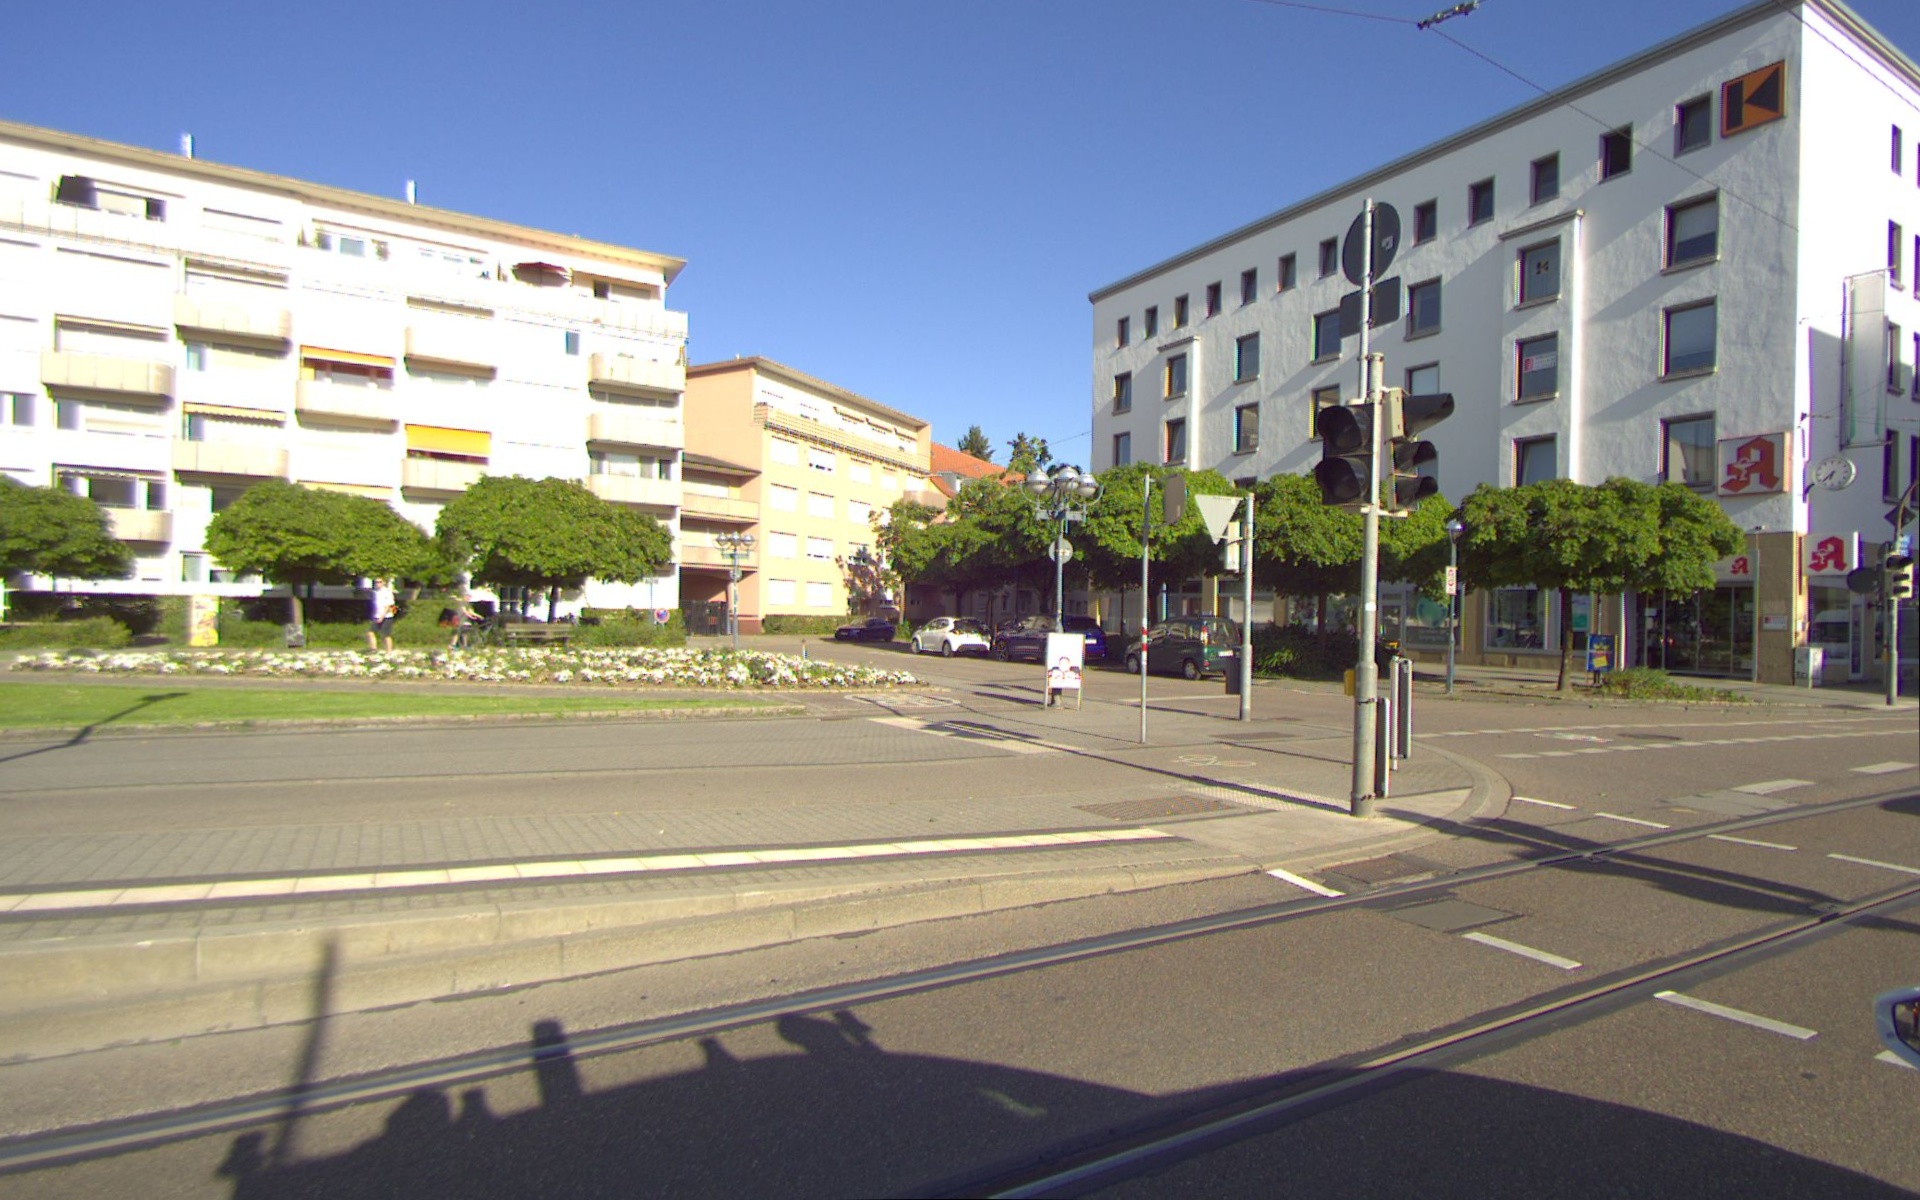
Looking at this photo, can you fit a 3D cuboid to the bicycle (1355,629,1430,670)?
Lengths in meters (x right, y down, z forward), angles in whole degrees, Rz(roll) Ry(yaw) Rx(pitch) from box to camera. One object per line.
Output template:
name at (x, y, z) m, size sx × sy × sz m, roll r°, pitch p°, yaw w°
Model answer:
bicycle at (13.348, 1.531, 30.977) m, size 2.586 × 1.206 × 0.615 m, roll 2°, pitch -1°, yaw -27°

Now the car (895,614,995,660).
car at (-0.651, 1.402, 39.119) m, size 1.835 × 1.628 × 4.581 m, roll 2°, pitch -1°, yaw -31°

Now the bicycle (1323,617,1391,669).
bicycle at (12.783, 1.377, 32.282) m, size 2.591 × 1.628 × 0.614 m, roll 2°, pitch -1°, yaw -32°

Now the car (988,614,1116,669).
car at (3.007, 1.352, 33.960) m, size 1.978 × 1.684 × 4.581 m, roll 2°, pitch -1°, yaw -31°

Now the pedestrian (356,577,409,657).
pedestrian at (-13.638, 0.407, 23.740) m, size 0.856 × 1.841 × 0.944 m, roll 1°, pitch -1°, yaw -18°

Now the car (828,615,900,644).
car at (-5.508, 1.700, 58.207) m, size 1.887 × 1.514 × 4.343 m, roll 1°, pitch -1°, yaw 31°

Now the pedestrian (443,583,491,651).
pedestrian at (-15.149, 0.536, 30.851) m, size 1.219 × 2.040 × 1.214 m, roll 1°, pitch -1°, yaw -30°

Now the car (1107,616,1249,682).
car at (6.203, 1.359, 28.967) m, size 1.804 × 1.728 × 3.968 m, roll 2°, pitch -1°, yaw -30°

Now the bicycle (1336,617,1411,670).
bicycle at (13.024, 1.367, 31.622) m, size 2.585 × 1.628 × 0.616 m, roll 2°, pitch -1°, yaw -26°

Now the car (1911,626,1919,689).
car at (26.652, 1.584, 25.883) m, size 4.353 × 1.590 × 1.983 m, roll 2°, pitch 2°, yaw -31°

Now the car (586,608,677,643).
car at (-13.452, 1.044, 41.159) m, size 3.271 × 1.372 × 1.638 m, roll 1°, pitch -1°, yaw -29°
